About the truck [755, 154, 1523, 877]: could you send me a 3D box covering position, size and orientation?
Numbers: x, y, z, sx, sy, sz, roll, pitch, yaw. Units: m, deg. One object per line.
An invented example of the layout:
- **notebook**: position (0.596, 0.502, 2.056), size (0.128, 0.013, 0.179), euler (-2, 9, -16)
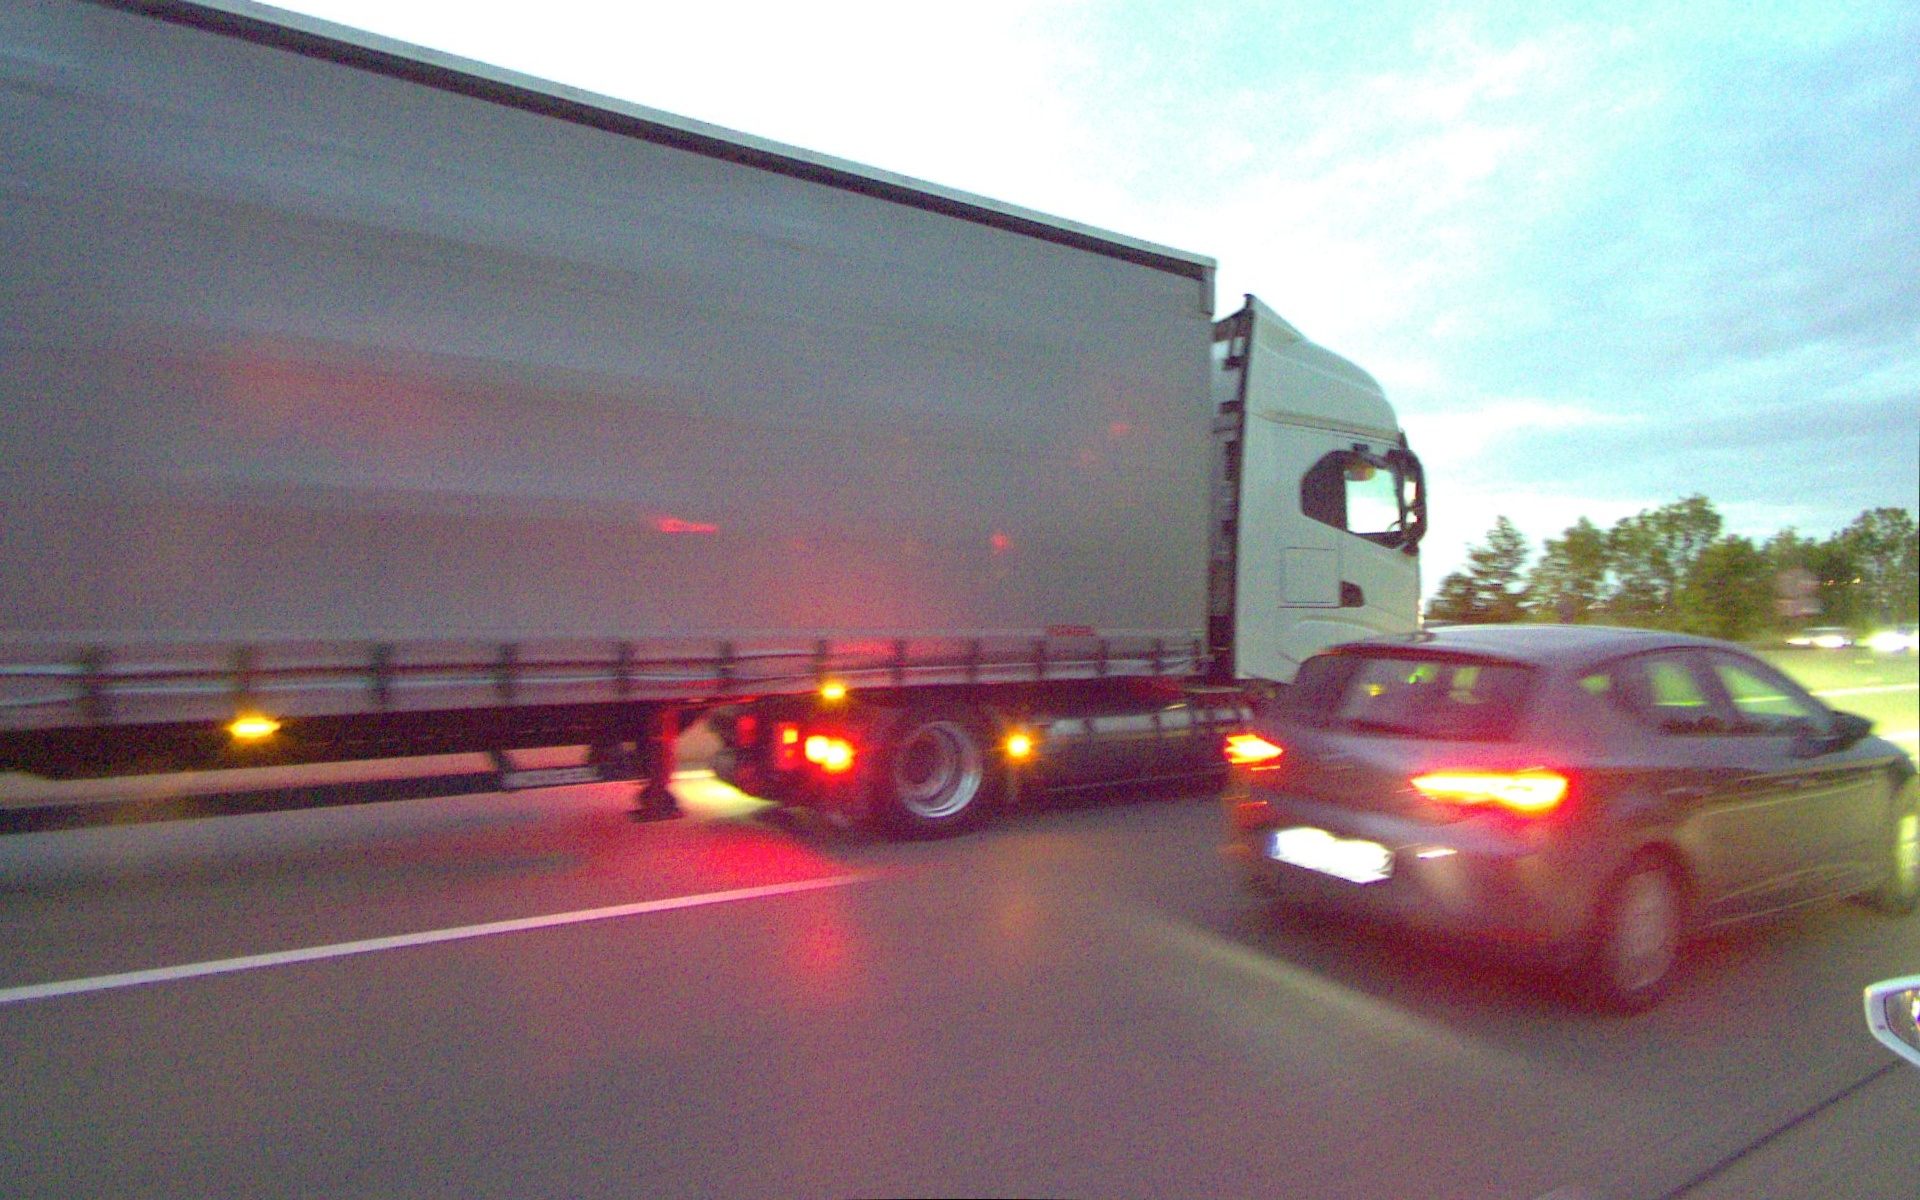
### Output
- **truck**: position (1.654, -0.400, 8.491), size (6.031, 4.147, 2.764), euler (2, -1, -30)

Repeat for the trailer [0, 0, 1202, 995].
- **trailer**: position (-5.229, -0.603, 4.432), size (14.356, 4.139, 2.781), euler (2, -1, -31)

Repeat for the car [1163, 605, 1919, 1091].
- **car**: position (3.375, 0.842, 5.093), size (4.672, 1.491, 1.714), euler (2, 0, -31)

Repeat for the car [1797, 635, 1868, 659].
- **car**: position (46.722, 2.500, 53.790), size (3.954, 1.194, 1.709), euler (2, 0, -31)

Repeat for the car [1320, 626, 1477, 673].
- **car**: position (10.437, 1.164, 23.874), size (3.524, 1.002, 1.684), euler (2, 0, -31)

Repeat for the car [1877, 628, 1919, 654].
- **car**: position (48.273, 2.069, 50.641), size (3.954, 1.194, 1.922), euler (2, 0, -31)
